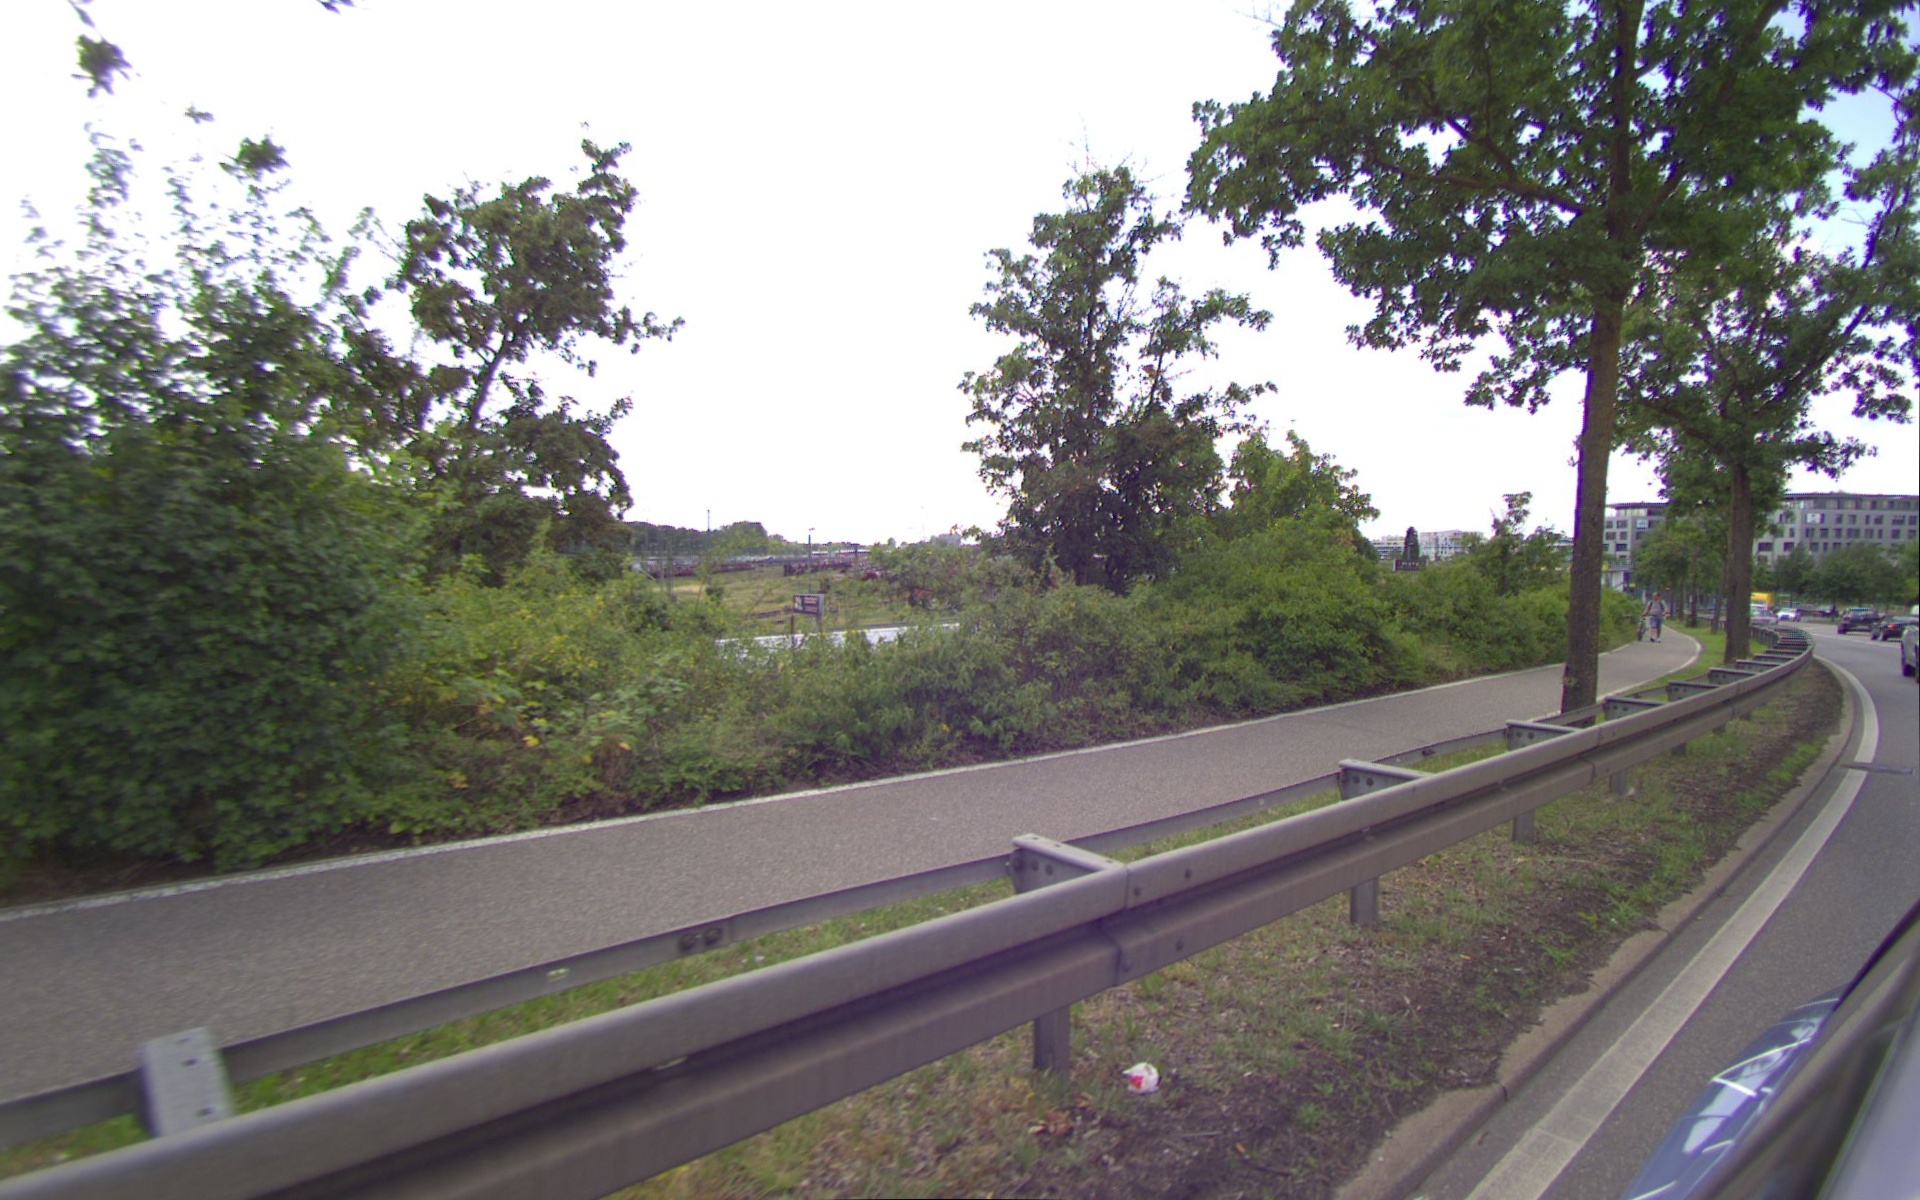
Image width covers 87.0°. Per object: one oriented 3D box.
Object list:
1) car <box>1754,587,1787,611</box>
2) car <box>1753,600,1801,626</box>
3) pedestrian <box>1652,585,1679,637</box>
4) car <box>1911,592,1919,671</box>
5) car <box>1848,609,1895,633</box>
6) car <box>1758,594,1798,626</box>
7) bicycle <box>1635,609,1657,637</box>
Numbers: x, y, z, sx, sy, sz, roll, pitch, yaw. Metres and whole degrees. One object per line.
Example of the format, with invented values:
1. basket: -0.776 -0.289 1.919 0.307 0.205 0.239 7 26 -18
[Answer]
1. car: 82.193 -0.076 102.569 4.806 2.349 1.995 0 0 -44
2. car: 46.654 0.724 57.833 1.838 1.222 3.948 5 4 36
3. pedestrian: 23.301 0.357 33.420 0.655 1.662 1.041 3 1 35
4. car: 19.174 0.615 18.848 1.820 1.544 3.943 0 0 39
5. car: 51.466 1.169 57.200 1.588 1.234 3.739 -3 -2 37
6. car: 59.089 0.663 73.134 1.991 2.037 3.946 6 5 37
7. bicycle: 22.964 0.761 33.869 0.555 0.880 1.802 3 2 35
